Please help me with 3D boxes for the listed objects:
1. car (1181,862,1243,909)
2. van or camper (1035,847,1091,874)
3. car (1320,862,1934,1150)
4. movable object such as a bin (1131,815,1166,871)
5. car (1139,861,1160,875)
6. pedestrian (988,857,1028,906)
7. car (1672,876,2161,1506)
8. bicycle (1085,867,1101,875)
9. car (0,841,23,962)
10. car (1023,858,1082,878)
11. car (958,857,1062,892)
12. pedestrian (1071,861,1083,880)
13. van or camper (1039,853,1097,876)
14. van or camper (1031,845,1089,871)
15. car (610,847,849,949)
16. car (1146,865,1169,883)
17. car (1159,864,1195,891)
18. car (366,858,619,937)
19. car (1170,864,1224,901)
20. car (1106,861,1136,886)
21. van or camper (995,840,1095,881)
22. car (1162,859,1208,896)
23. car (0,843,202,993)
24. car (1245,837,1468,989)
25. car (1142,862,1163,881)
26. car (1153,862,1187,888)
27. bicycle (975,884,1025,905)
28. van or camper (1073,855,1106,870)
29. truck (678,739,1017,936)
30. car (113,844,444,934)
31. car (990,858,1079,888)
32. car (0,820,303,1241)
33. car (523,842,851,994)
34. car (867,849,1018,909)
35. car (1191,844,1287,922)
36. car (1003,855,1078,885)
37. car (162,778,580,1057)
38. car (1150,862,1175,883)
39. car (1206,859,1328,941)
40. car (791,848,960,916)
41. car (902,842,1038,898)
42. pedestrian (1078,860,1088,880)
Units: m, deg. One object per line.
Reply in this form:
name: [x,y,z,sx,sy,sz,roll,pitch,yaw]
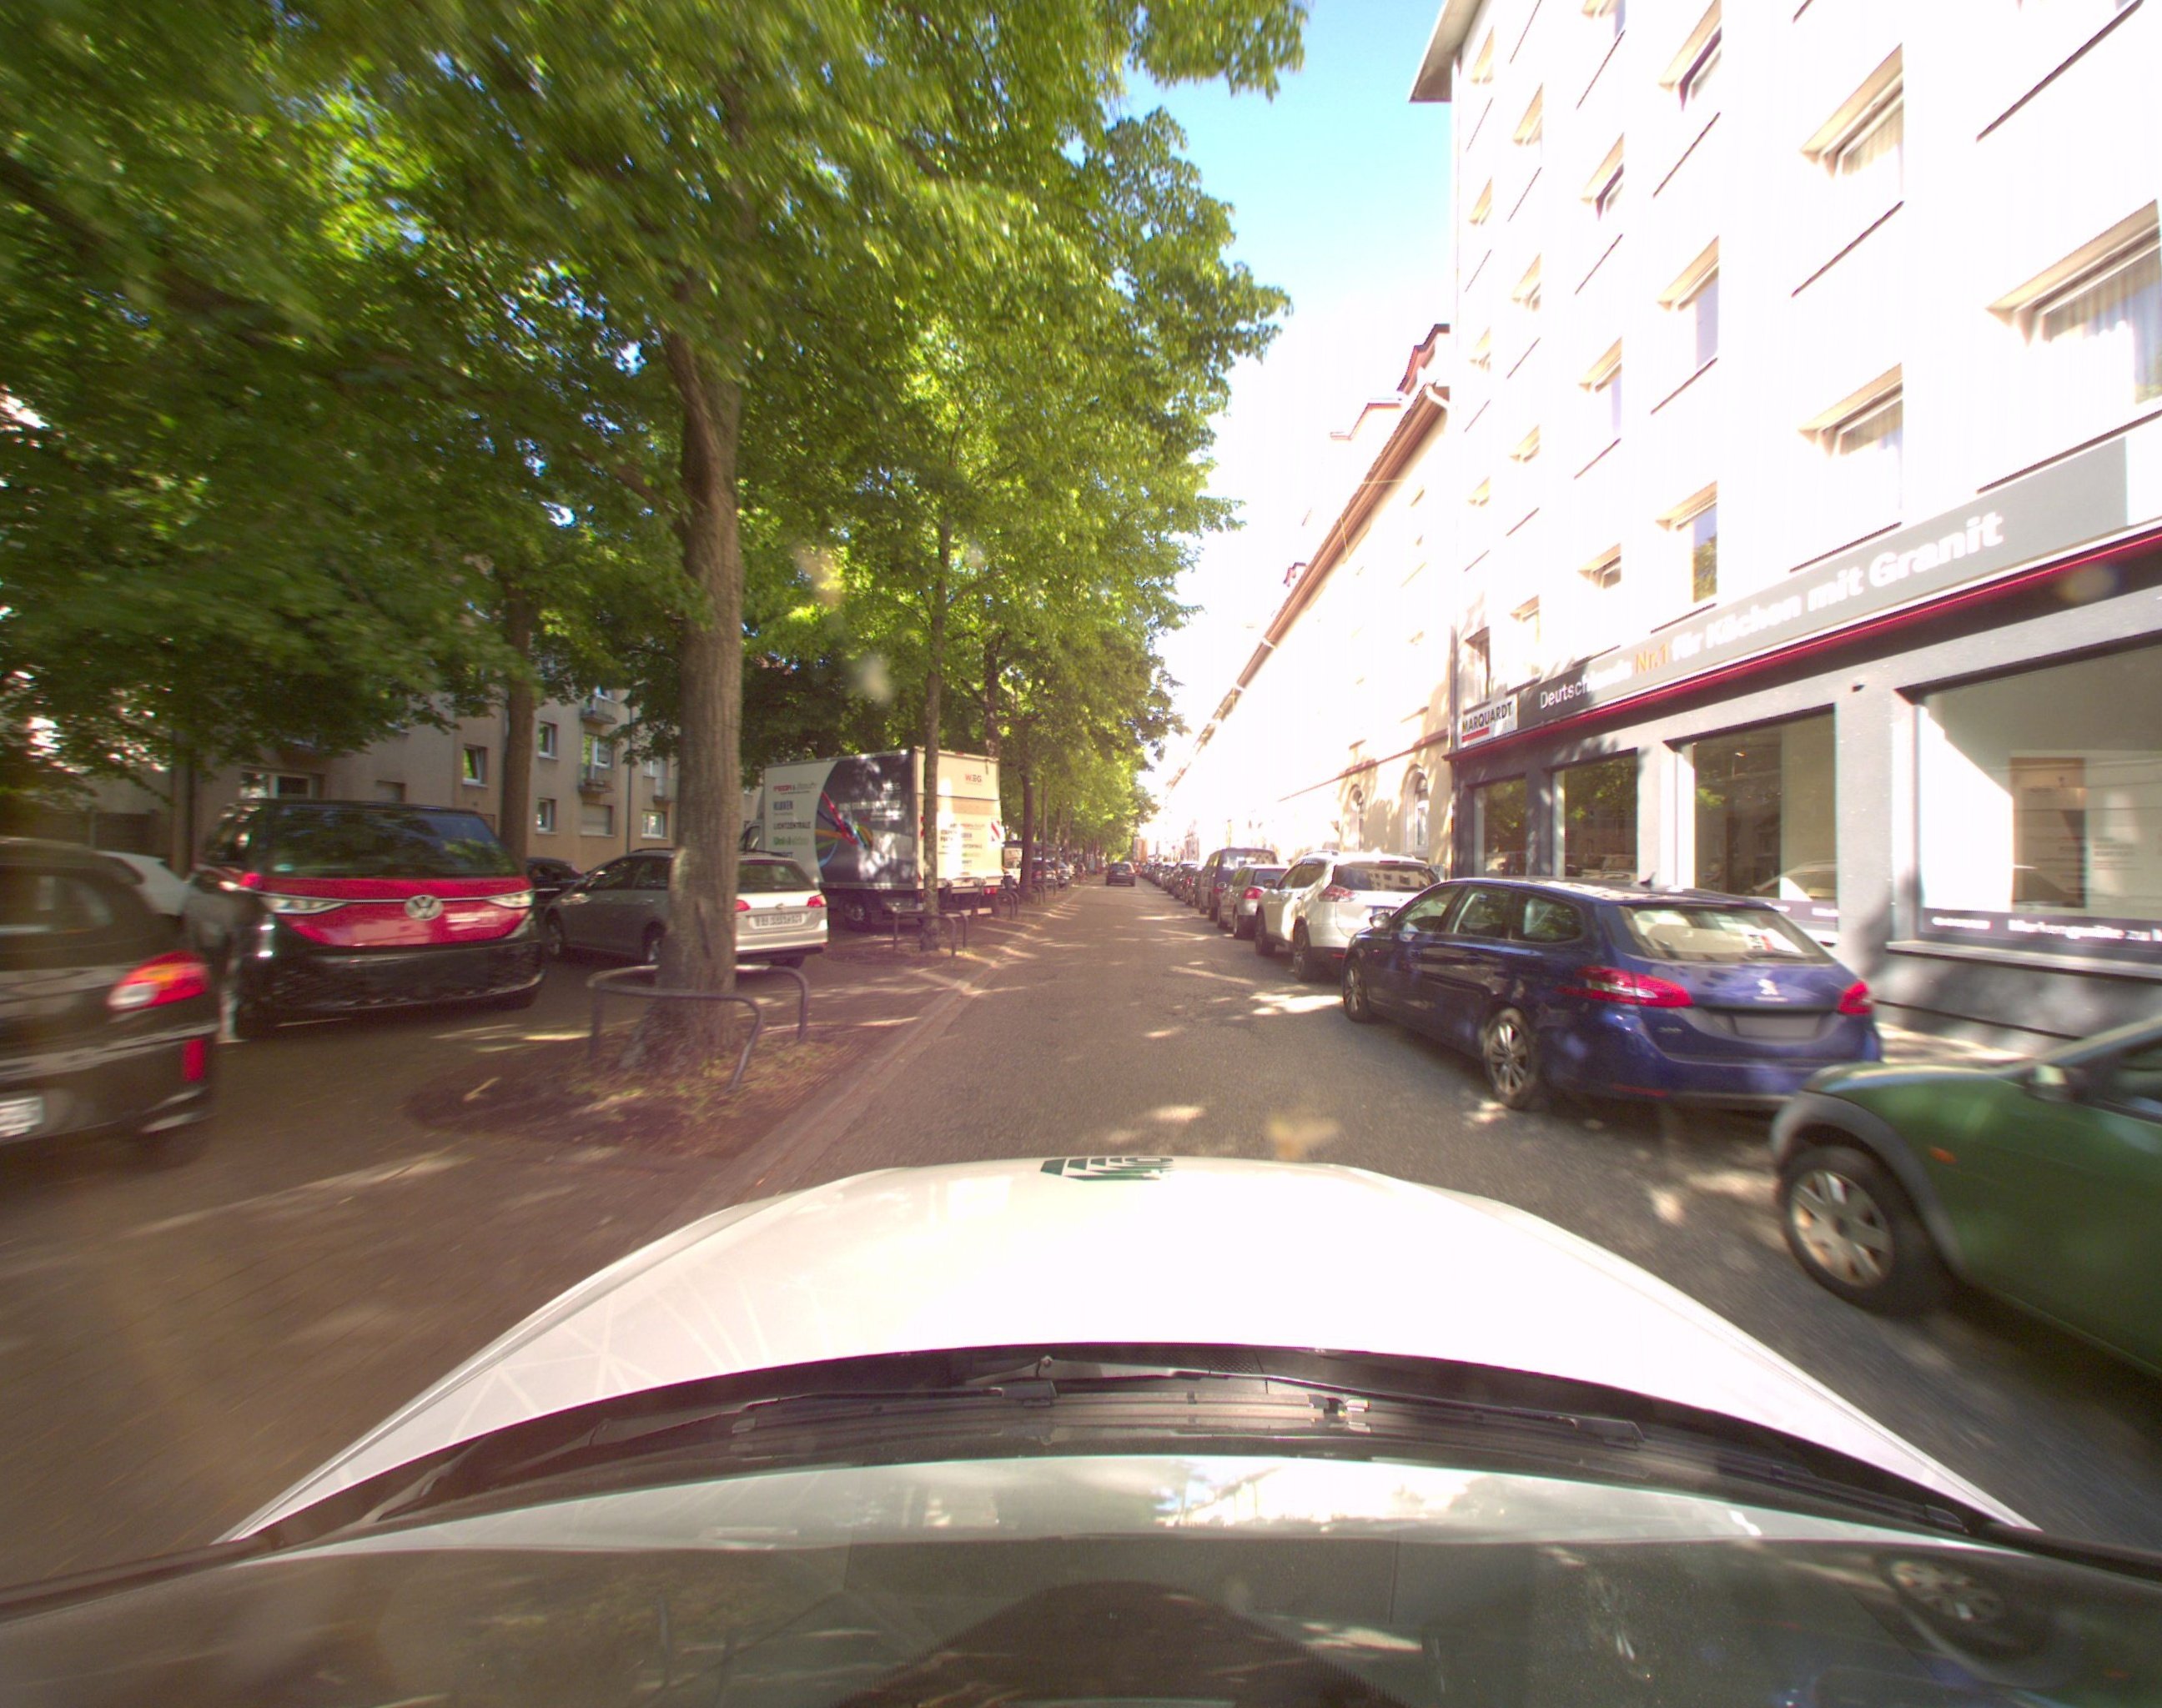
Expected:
car: [4.502,1.041,28.400,1.616,1.498,3.595,1,-1,0]
van or camper: [-2.240,0.761,100.051,6.592,3.241,2.511,0,-1,31]
car: [3.501,0.812,6.437,1.797,1.463,4.437,1,-1,-2]
movable object such as a bin: [8.362,-1.346,100.454,3.445,6.760,2.383,1,-1,35]
car: [7.216,1.496,86.464,1.986,1.409,4.502,1,0,1]
pedestrian: [-2.162,0.806,24.173,0.743,1.397,0.934,0,-1,34]
car: [3.365,0.827,1.822,1.590,1.463,3.675,1,-1,3]
bicycle: [1.390,2.034,97.185,1.879,1.006,0.433,0,-1,26]
car: [-15.066,0.591,8.884,1.746,1.570,3.952,1,-1,3]
car: [-2.192,1.079,63.024,4.274,1.424,1.685,1,-1,29]
car: [-3.162,0.881,36.088,4.432,1.455,1.799,0,-1,34]
pedestrian: [-0.301,1.228,61.714,0.703,1.456,0.600,0,-1,25]
van or camper: [-1.302,1.025,82.639,5.447,2.275,2.233,0,-1,26]
van or camper: [-2.271,0.419,86.934,5.811,2.637,2.269,0,-1,32]
car: [-6.134,0.652,14.055,4.287,1.507,1.825,1,-1,36]
car: [6.249,1.628,66.786,1.625,1.413,4.089,1,-1,1]
car: [5.339,1.281,45.727,1.716,1.432,4.160,1,-1,2]
car: [-11.143,0.757,15.904,1.758,1.294,4.412,-1,-1,-1]
car: [4.700,1.141,33.430,1.545,1.394,3.859,1,-1,-1]
car: [2.438,1.188,50.535,1.790,1.504,3.586,0,0,1]
van or camper: [-2.704,0.457,59.993,7.157,2.930,2.328,0,-1,29]
car: [5.023,1.085,39.685,1.717,1.686,4.157,1,-1,0]
car: [-11.581,0.623,7.979,1.750,1.486,3.943,1,0,-4]
car: [3.676,0.708,11.771,1.756,1.753,4.510,1,-1,1]
car: [6.750,1.619,77.353,1.809,1.674,4.676,1,-1,3]
car: [5.571,1.276,51.406,1.716,1.528,4.158,1,-1,0]
bicycle: [-2.463,1.218,24.612,1.593,0.558,0.412,0,-1,33]
van or camper: [1.447,1.479,141.455,5.281,2.475,2.308,0,-1,34]
truck: [-4.972,-0.268,16.668,7.231,3.294,2.563,0,-1,33]
car: [-14.690,0.581,15.349,1.756,1.435,4.347,1,0,3]
car: [-2.408,0.961,41.810,4.367,1.462,1.727,1,-2,35]
car: [-5.478,0.603,3.742,3.775,1.481,1.772,1,-1,31]
car: [-4.983,0.631,10.088,4.287,1.507,1.825,1,-1,36]
car: [-3.945,0.669,22.942,4.055,1.506,1.744,1,-1,34]
car: [4.273,0.746,22.702,1.941,1.901,4.849,1,-1,3]
car: [-2.411,0.940,48.311,4.094,1.679,1.770,1,-1,31]
car: [-6.726,0.421,7.566,4.445,1.873,1.948,1,-1,36]
car: [6.167,1.356,62.092,1.625,1.534,3.593,1,-1,1]
car: [3.807,0.882,17.372,1.755,1.500,4.240,1,-1,2]
car: [-5.145,0.646,20.279,3.948,1.503,1.860,1,-1,34]
car: [-4.059,0.541,29.789,4.467,1.865,2.093,1,-1,27]
pedestrian: [0.152,1.223,62.280,0.609,1.456,0.522,0,-1,25]
